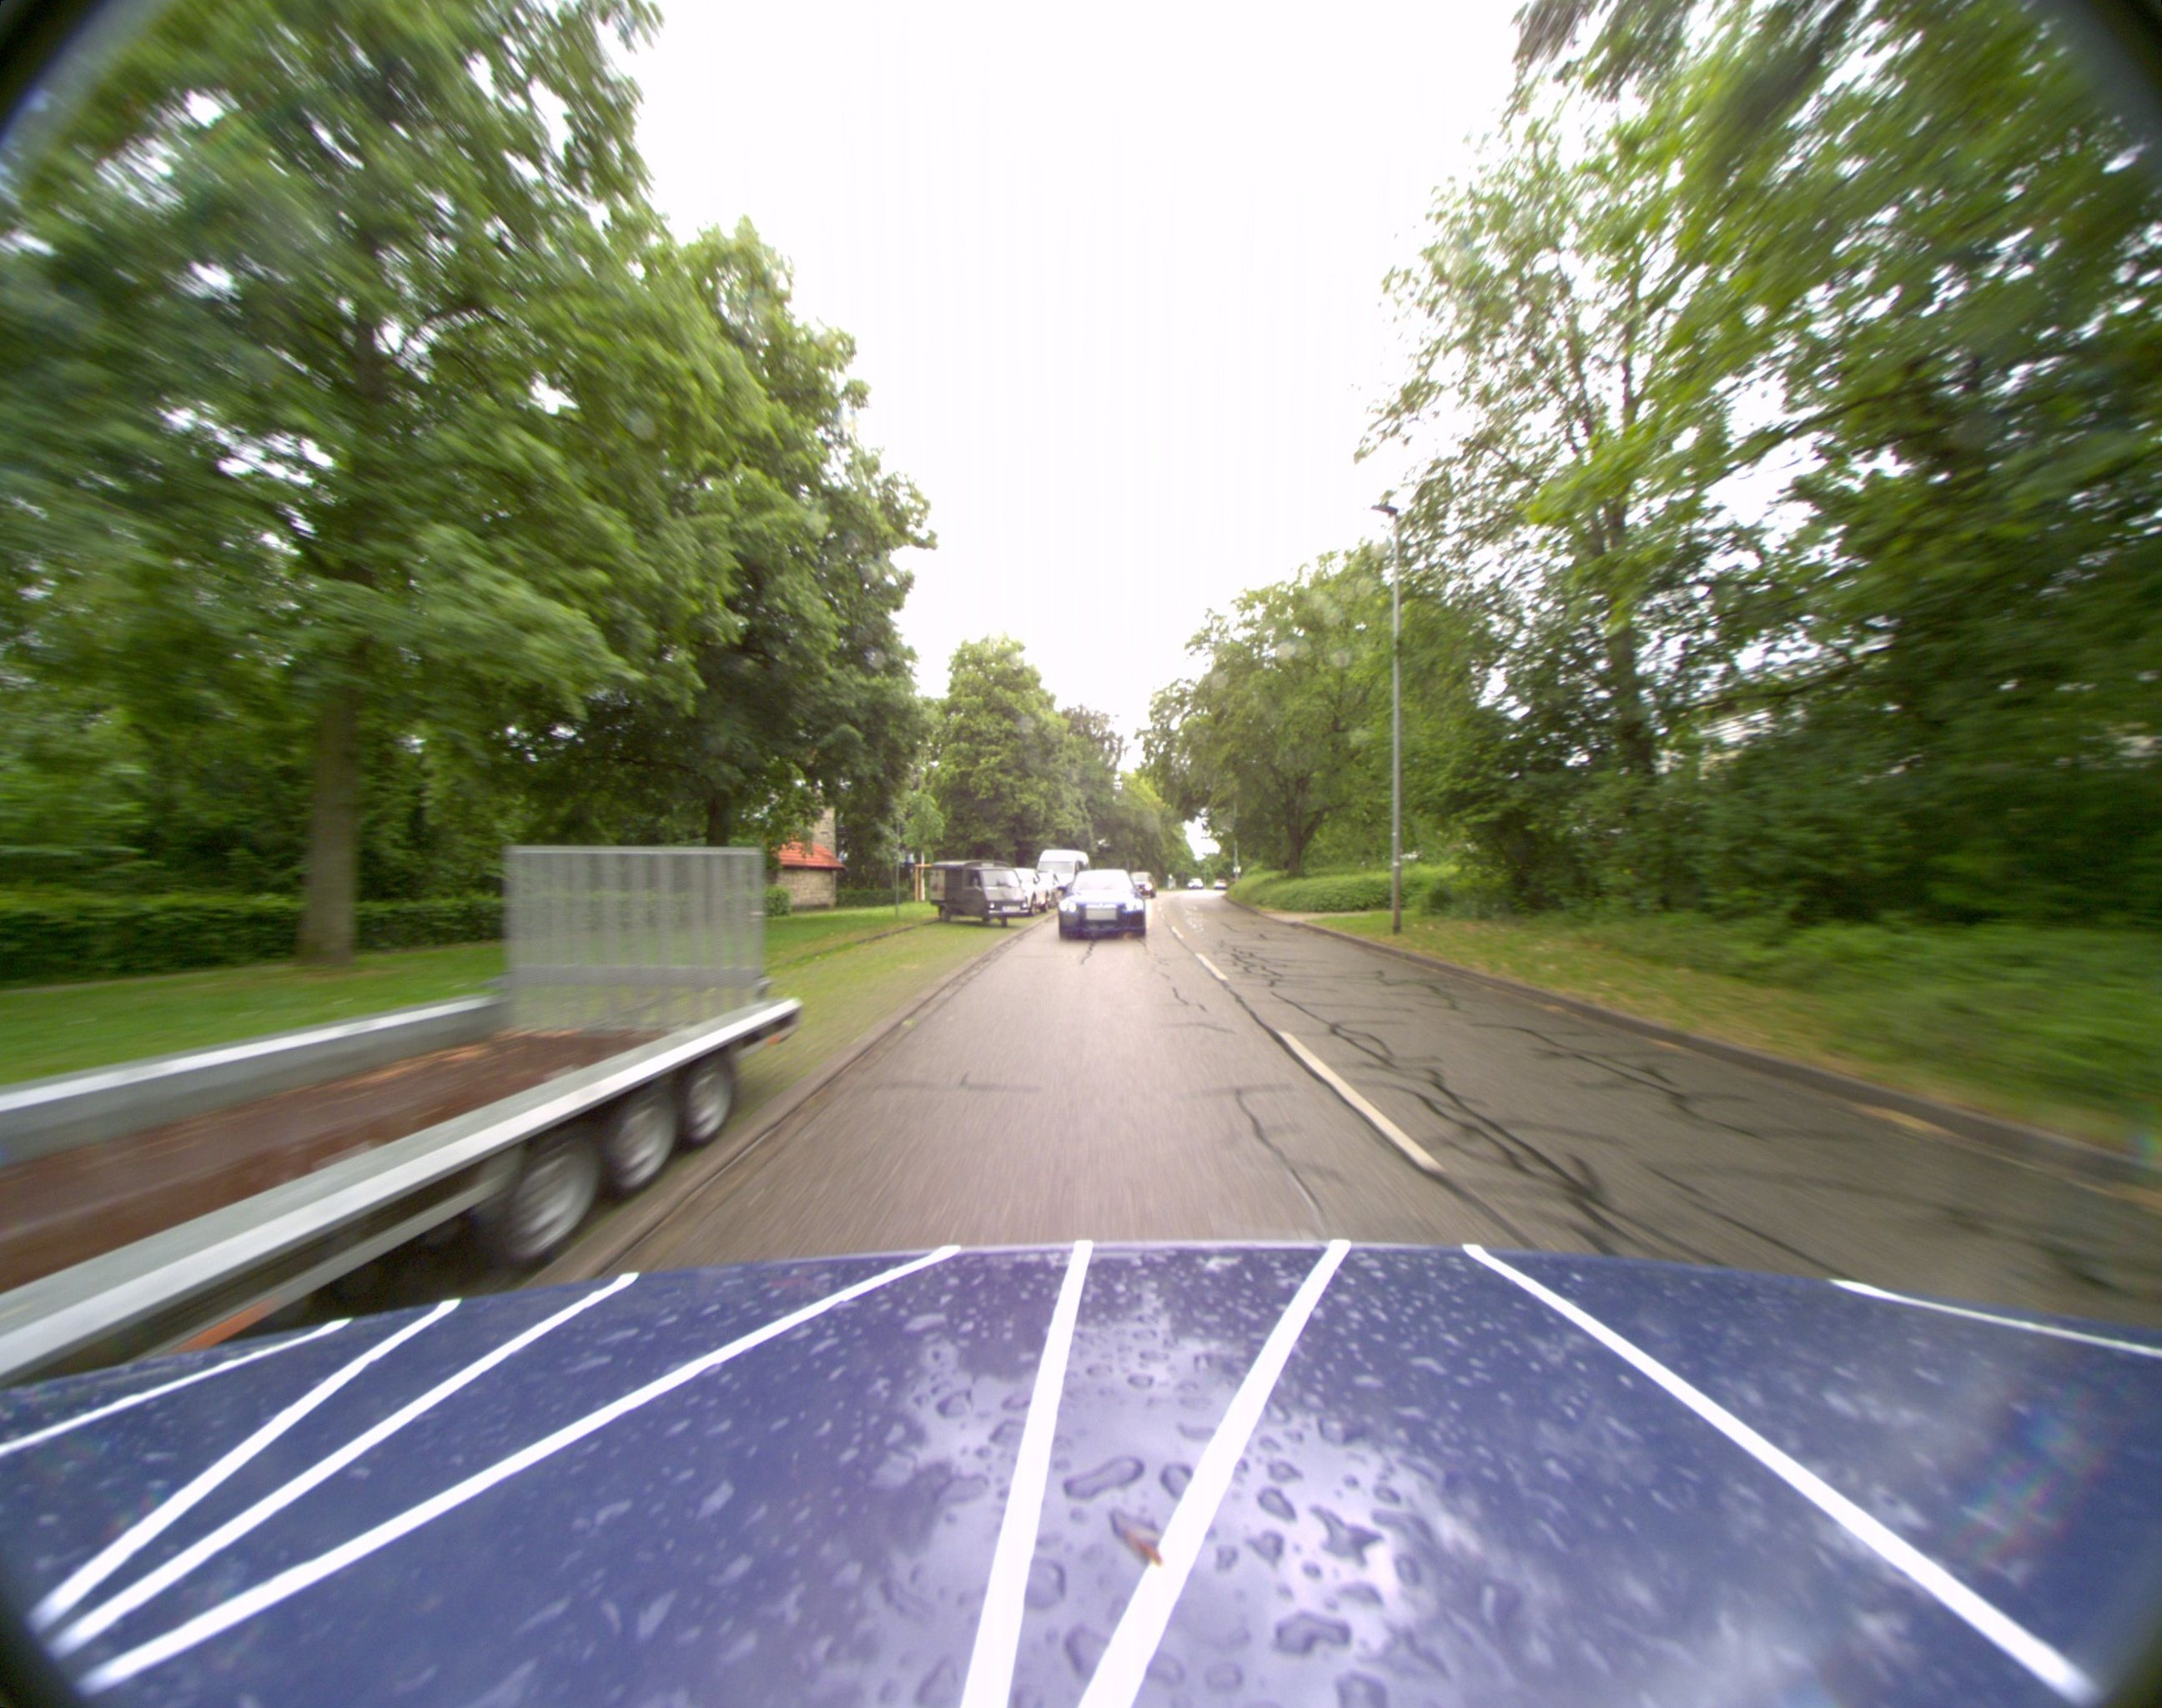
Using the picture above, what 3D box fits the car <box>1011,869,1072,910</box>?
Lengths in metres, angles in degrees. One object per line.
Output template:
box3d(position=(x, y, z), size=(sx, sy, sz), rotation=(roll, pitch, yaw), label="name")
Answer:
box3d(position=(-1.532, 1.402, 31.069), size=(1.808, 1.529, 4.270), rotation=(1, -1, 7), label="car")

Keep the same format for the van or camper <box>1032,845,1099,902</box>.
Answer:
box3d(position=(-0.621, 1.059, 38.835), size=(2.020, 2.566, 8.444), rotation=(-2, -2, 8), label="van or camper")

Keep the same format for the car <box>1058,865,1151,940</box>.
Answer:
box3d(position=(0.419, 1.089, 17.390), size=(1.840, 1.501, 4.001), rotation=(0, -3, -2), label="car")

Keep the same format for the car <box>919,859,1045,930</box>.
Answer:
box3d(position=(-2.765, 1.012, 20.473), size=(1.615, 1.671, 3.996), rotation=(1, 0, -36), label="car")

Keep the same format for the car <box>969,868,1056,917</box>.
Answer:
box3d(position=(-2.182, 1.229, 25.484), size=(1.997, 1.488, 4.570), rotation=(0, -2, 7), label="car")

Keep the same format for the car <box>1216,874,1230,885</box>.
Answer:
box3d(position=(19.725, 3.544, 105.439), size=(1.668, 1.468, 3.737), rotation=(2, -1, 13), label="car")

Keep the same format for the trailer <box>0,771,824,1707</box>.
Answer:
box3d(position=(-3.090, 0.743, 2.440), size=(2.455, 1.802, 5.891), rotation=(0, 0, 1), label="trailer")

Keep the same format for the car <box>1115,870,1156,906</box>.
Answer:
box3d(position=(3.218, 1.996, 44.386), size=(1.997, 2.001, 4.005), rotation=(-1, -3, 9), label="car")
